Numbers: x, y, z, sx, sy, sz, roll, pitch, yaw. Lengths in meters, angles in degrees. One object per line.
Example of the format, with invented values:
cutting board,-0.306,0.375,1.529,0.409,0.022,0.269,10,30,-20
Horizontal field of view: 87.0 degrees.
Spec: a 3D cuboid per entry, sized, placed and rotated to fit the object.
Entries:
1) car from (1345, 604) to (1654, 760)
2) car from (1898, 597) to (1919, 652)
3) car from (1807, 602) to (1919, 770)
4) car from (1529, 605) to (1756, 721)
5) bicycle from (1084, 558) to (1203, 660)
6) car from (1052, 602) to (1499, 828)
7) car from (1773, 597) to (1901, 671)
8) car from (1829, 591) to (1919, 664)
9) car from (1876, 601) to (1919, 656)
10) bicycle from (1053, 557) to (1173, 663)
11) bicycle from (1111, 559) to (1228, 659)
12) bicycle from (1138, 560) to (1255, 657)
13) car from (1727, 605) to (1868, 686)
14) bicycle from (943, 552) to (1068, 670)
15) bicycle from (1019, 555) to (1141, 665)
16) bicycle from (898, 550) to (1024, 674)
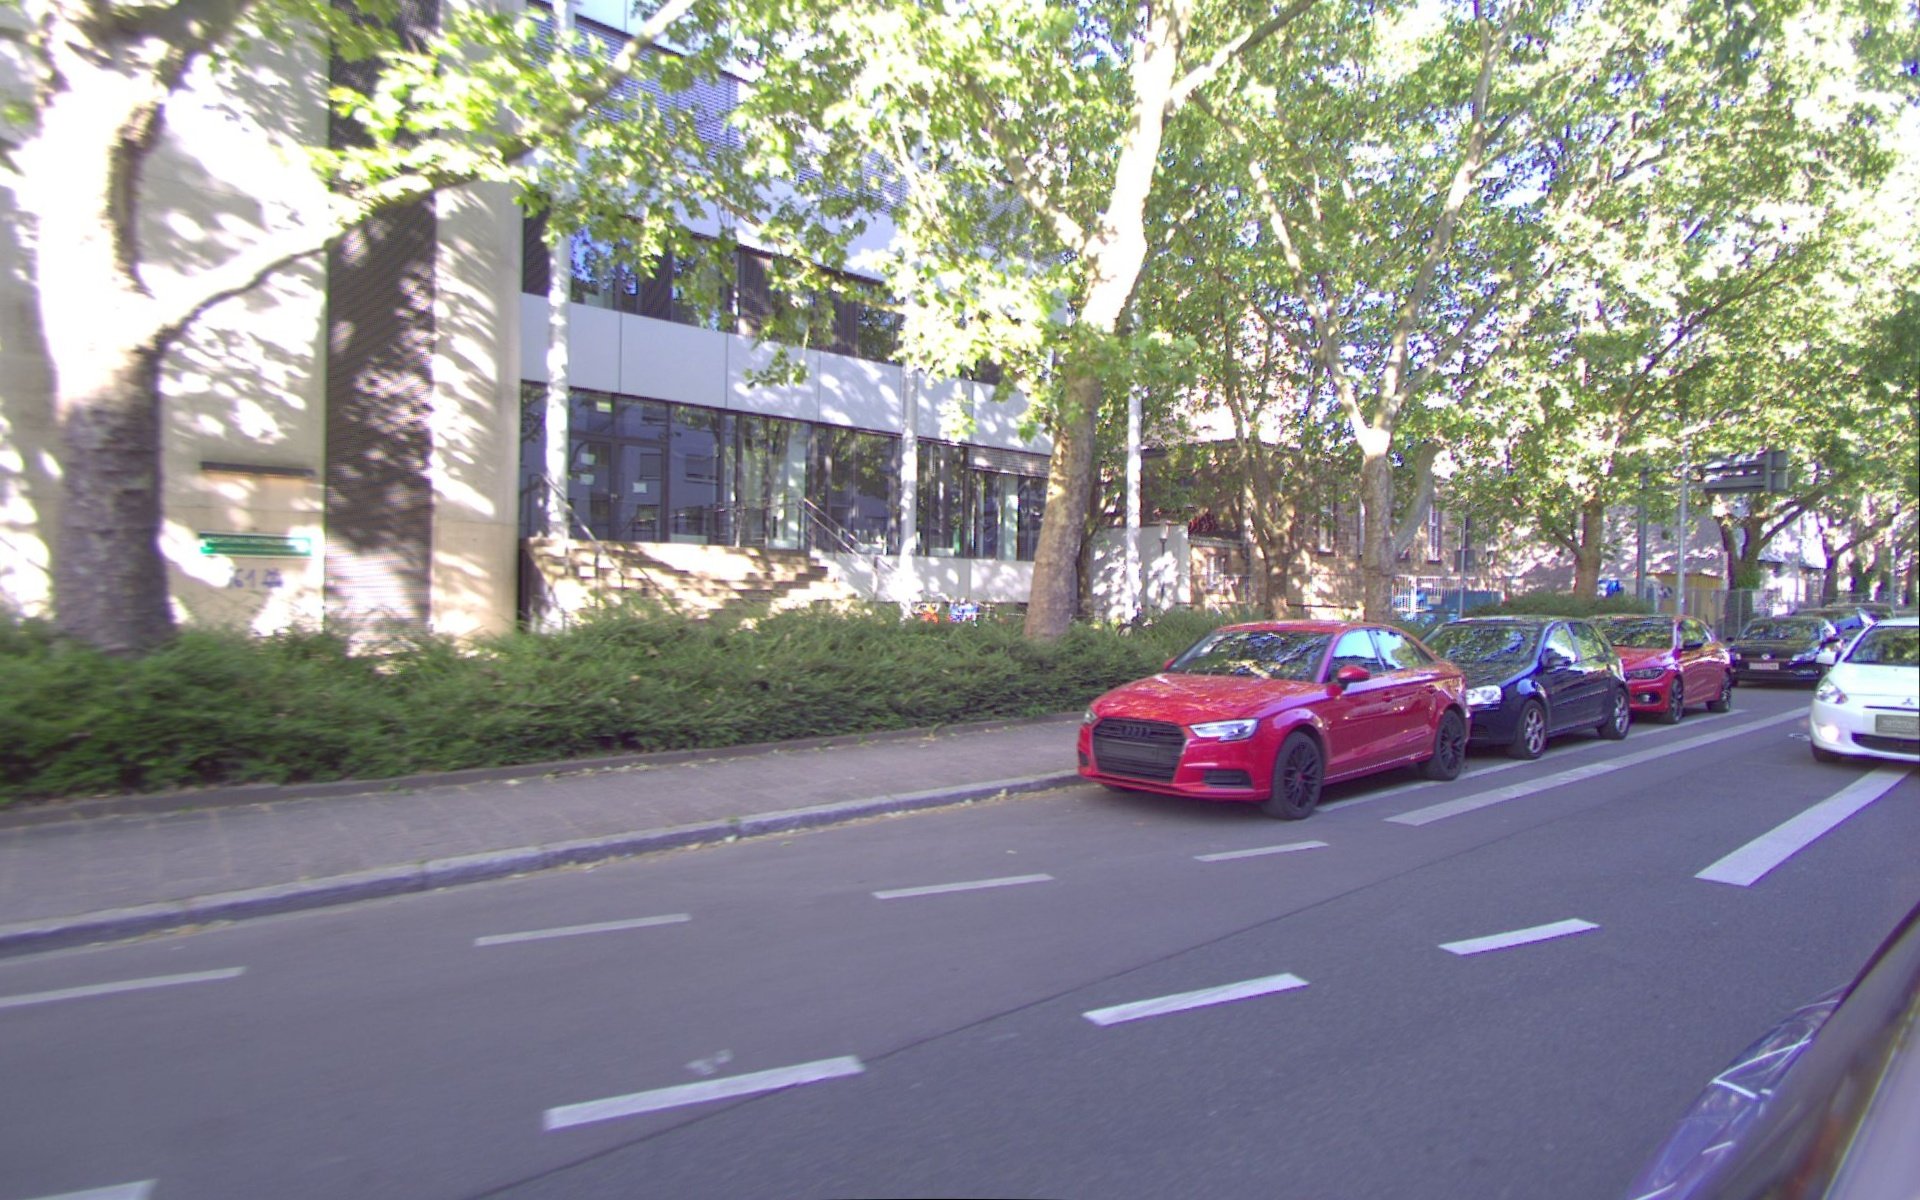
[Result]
car,6.256,0.809,11.572,3.992,1.485,1.696,0,-2,-39
car,34.076,0.827,35.070,4.055,1.836,1.696,0,-2,-39
car,10.212,0.777,10.266,3.617,1.517,1.683,0,-1,-37
car,10.256,0.845,15.089,4.241,1.498,1.696,0,-2,-40
bicycle,3.830,0.161,21.411,0.729,2.039,2.603,1,0,-39
car,2.894,0.775,8.695,4.360,1.468,1.694,1,-2,-42
car,21.479,0.778,24.722,4.540,1.649,1.778,0,-2,-42
car,25.399,0.731,28.095,1.823,1.865,4.825,-2,-2,41
car,30.617,0.880,32.260,4.256,1.649,1.694,1,-2,-42
bicycle,3.091,0.164,20.751,0.729,2.039,2.603,1,0,-39
bicycle,4.507,0.158,21.979,0.729,2.039,2.603,1,0,-39
bicycle,5.223,0.154,22.547,0.729,2.039,2.603,1,0,-39
car,17.455,0.885,21.033,3.951,1.523,1.694,1,-2,-42
bicycle,0.795,0.173,18.754,0.729,2.039,2.603,1,0,-39
bicycle,2.332,0.167,20.101,0.729,2.039,2.603,1,0,-39
bicycle,-0.032,0.176,17.953,0.729,2.039,2.603,1,0,-39
